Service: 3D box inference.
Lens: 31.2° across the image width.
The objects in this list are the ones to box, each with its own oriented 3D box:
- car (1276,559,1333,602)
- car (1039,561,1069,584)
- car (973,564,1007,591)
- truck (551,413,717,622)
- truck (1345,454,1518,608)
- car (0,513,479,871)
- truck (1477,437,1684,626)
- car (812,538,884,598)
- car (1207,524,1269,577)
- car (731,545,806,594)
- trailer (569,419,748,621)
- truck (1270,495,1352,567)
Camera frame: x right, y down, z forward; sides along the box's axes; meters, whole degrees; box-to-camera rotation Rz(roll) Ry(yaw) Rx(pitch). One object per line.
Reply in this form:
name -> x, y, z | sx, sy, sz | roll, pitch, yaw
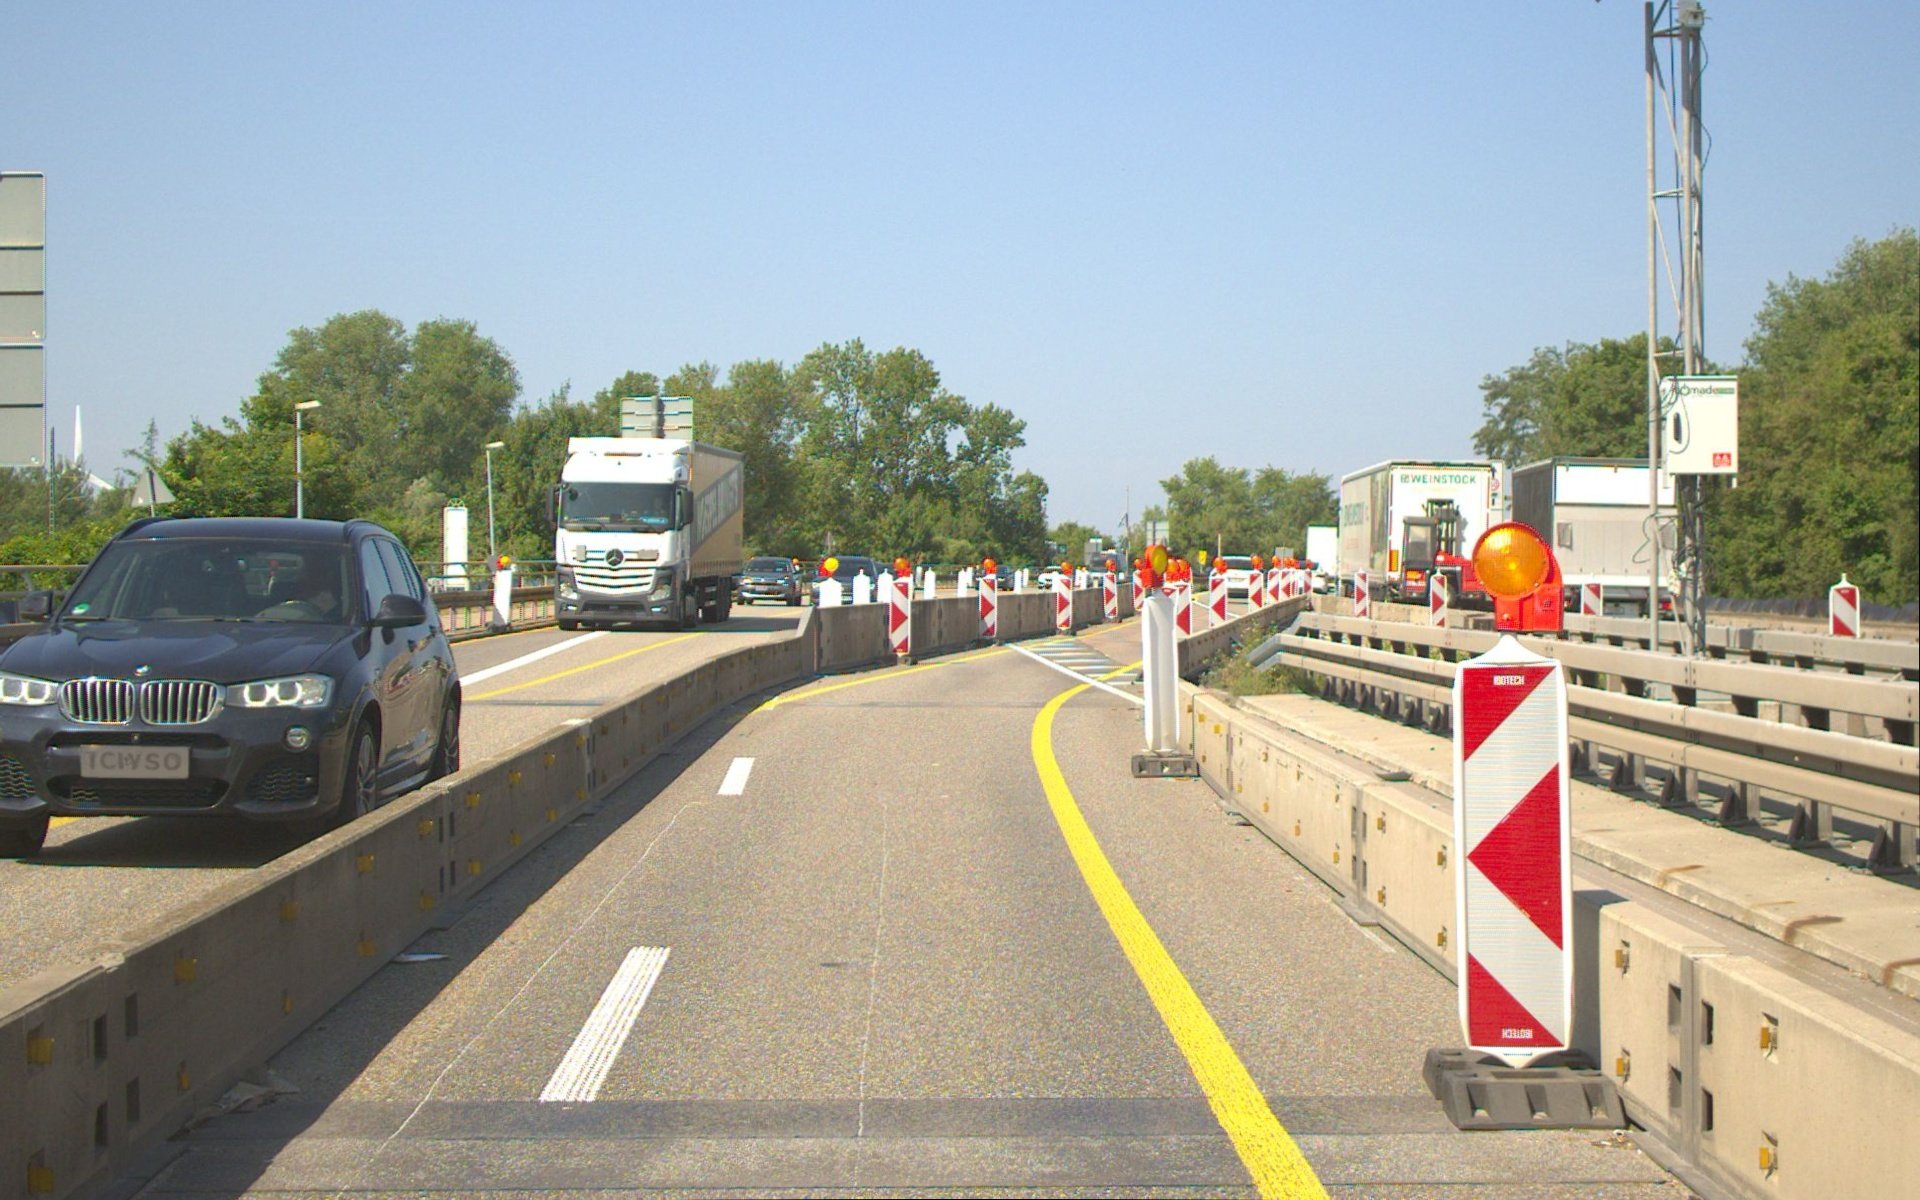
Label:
car -> 14.651, -0.851, 146.497 | 1.993, 1.770, 4.000 | -1, 1, 0
car -> 5.912, -1.761, 216.760 | 1.719, 1.392, 4.519 | 1, 1, 3
car -> 1.683, -1.294, 192.816 | 1.737, 1.471, 4.645 | 0, 1, 2
truck -> -6.682, -1.666, 71.357 | 2.749, 4.122, 6.415 | -1, 1, 0
truck -> 12.052, -1.738, 88.508 | 3.388, 3.761, 7.233 | -1, 1, 0
car -> -3.777, 0.380, 17.931 | 1.863, 1.626, 4.566 | 0, 1, 0
truck -> 11.817, -1.312, 66.117 | 2.634, 3.416, 7.233 | 0, 1, 0
car -> -2.963, -0.859, 91.363 | 1.790, 1.563, 3.873 | 0, 1, 0
car -> 9.582, -1.704, 118.737 | 1.816, 1.770, 4.000 | -1, 1, 0
car -> -6.053, -0.985, 108.896 | 1.933, 1.503, 4.469 | 0, 1, 3
trailer -> -6.661, -1.724, 78.087 | 2.761, 4.122, 14.532 | -1, 1, 0
truck -> 21.323, -4.177, 209.552 | 4.220, 4.252, 10.240 | -1, 1, 2
